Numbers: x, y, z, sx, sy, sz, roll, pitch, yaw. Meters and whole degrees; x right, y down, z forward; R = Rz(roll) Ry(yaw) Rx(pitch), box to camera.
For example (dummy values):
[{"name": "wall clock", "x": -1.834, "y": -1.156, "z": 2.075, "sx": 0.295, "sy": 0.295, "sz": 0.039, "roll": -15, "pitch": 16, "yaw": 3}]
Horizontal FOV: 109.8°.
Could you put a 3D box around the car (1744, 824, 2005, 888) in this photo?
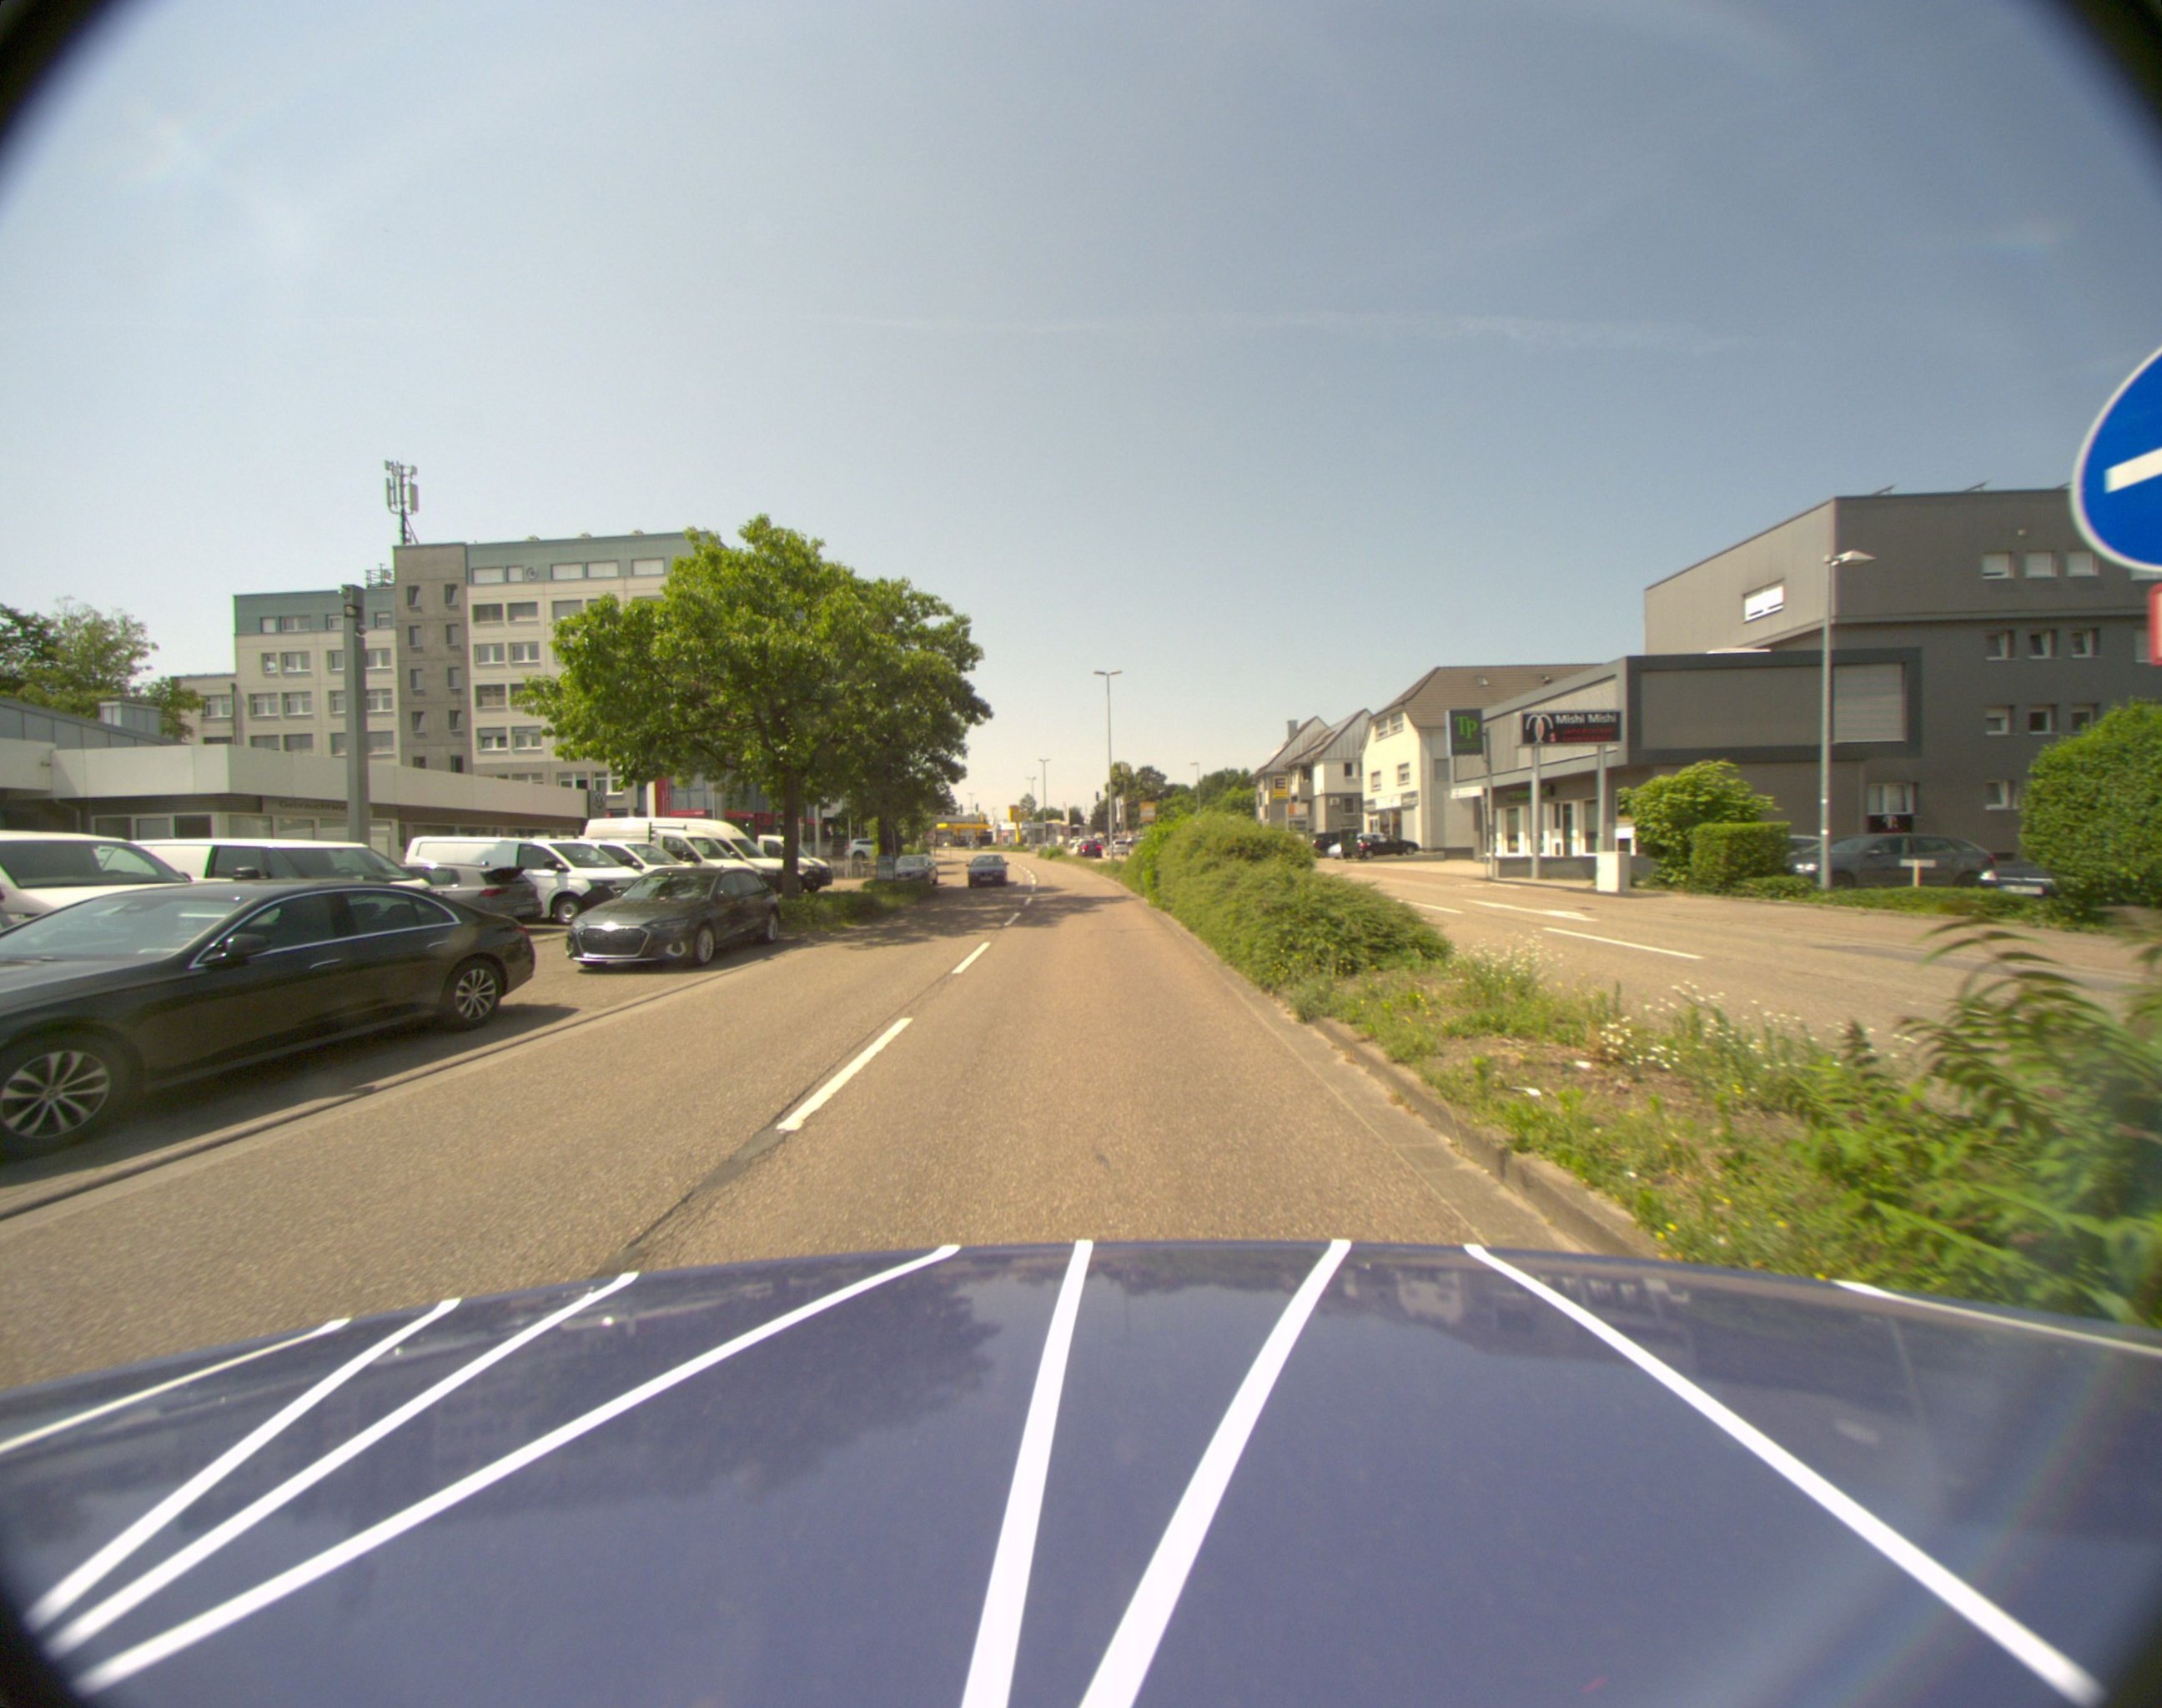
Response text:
[{"name": "car", "x": 17.748, "y": 0.041, "z": 17.146, "sx": 4.006, "sy": 1.363, "sz": 1.669, "roll": 0, "pitch": 0, "yaw": 3}]

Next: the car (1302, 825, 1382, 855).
[{"name": "car", "x": 17.439, "y": -0.921, "z": 50.941, "sx": 4.617, "sy": 1.618, "sz": 1.853, "roll": -5, "pitch": 2, "yaw": 0}]

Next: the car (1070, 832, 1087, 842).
[{"name": "car", "x": -0.392, "y": -2.865, "z": 130.236, "sx": 1.754, "sy": 1.502, "sz": 3.823, "roll": -2, "pitch": 3, "yaw": 18}]

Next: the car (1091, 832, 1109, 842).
[{"name": "car", "x": 3.238, "y": -2.794, "z": 125.966, "sx": 1.712, "sy": 1.424, "sz": 3.966, "roll": 0, "pitch": 3, "yaw": 21}]

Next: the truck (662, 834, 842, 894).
[{"name": "truck", "x": -13.236, "y": 0.405, "z": 30.854, "sx": 6.260, "sy": 2.323, "sz": 2.368, "roll": 0, "pitch": 0, "yaw": 2}]

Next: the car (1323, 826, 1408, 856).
[{"name": "car", "x": 17.919, "y": -0.820, "z": 47.909, "sx": 4.620, "sy": 1.488, "sz": 1.751, "roll": -5, "pitch": 2, "yaw": -7}]

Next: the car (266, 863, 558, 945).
[{"name": "car", "x": -13.310, "y": 0.967, "z": 15.372, "sx": 4.035, "sy": 1.462, "sz": 1.913, "roll": 1, "pitch": 0, "yaw": -6}]

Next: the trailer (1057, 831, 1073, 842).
[{"name": "trailer", "x": -2.779, "y": -3.067, "z": 133.443, "sx": 1.689, "sy": 1.694, "sz": 2.438, "roll": -1, "pitch": 3, "yaw": 30}]

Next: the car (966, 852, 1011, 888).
[{"name": "car", "x": -4.053, "y": 0.654, "z": 33.794, "sx": 1.698, "sy": 1.366, "sz": 3.997, "roll": -1, "pitch": 2, "yaw": -4}]

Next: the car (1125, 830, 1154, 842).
[{"name": "car", "x": 9.330, "y": -2.833, "z": 121.154, "sx": 4.300, "sy": 1.891, "sz": 1.831, "roll": 0, "pitch": 4, "yaw": 19}]

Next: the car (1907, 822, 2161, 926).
[{"name": "car", "x": 16.910, "y": 0.291, "z": 13.036, "sx": 3.489, "sy": 1.522, "sz": 1.777, "roll": -3, "pitch": 3, "yaw": 2}]

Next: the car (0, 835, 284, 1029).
[{"name": "car", "x": -13.337, "y": 0.818, "z": 9.255, "sx": 5.077, "sy": 2.085, "sz": 2.040, "roll": 1, "pitch": 1, "yaw": 0}]

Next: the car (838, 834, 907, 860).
[{"name": "car", "x": -15.887, "y": -0.588, "z": 57.866, "sx": 4.745, "sy": 1.704, "sz": 1.995, "roll": -4, "pitch": 3, "yaw": -25}]

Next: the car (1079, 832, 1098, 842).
[{"name": "car", "x": 1.270, "y": -2.898, "z": 128.205, "sx": 1.914, "sy": 1.532, "sz": 3.967, "roll": -2, "pitch": 3, "yaw": 22}]

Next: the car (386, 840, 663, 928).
[{"name": "car", "x": -12.965, "y": 0.650, "z": 17.961, "sx": 4.925, "sy": 1.960, "sz": 2.141, "roll": 0, "pitch": 1, "yaw": 1}]

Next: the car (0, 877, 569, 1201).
[{"name": "car", "x": -6.693, "y": 1.050, "z": 5.848, "sx": 1.966, "sy": 1.521, "sz": 5.160, "roll": 1, "pitch": 1, "yaw": 1}]

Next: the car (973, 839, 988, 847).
[{"name": "car", "x": -19.201, "y": -2.095, "z": 144.950, "sx": 1.871, "sy": 1.358, "sz": 4.338, "roll": 0, "pitch": 1, "yaw": -20}]

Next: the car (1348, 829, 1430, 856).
[{"name": "car", "x": 18.326, "y": -0.711, "z": 45.253, "sx": 4.067, "sy": 1.512, "sz": 1.999, "roll": -1, "pitch": 2, "yaw": -2}]

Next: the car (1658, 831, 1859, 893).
[{"name": "car", "x": 17.644, "y": 0.161, "z": 19.888, "sx": 3.998, "sy": 1.451, "sz": 1.574, "roll": -1, "pitch": 3, "yaw": -4}]

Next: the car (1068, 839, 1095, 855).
[{"name": "car", "x": 0.012, "y": -0.728, "z": 75.692, "sx": 1.869, "sy": 1.423, "sz": 4.739, "roll": -3, "pitch": 2, "yaw": -9}]

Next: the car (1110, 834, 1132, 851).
[{"name": "car", "x": 3.987, "y": -1.182, "z": 76.280, "sx": 1.785, "sy": 1.620, "sz": 4.336, "roll": 1, "pitch": 2, "yaw": -4}]

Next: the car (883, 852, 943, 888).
[{"name": "car", "x": -7.617, "y": 0.680, "z": 34.830, "sx": 1.802, "sy": 1.398, "sz": 4.318, "roll": -3, "pitch": 1, "yaw": -1}]

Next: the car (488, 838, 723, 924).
[{"name": "car", "x": -12.755, "y": 0.688, "z": 20.663, "sx": 4.961, "sy": 2.101, "sz": 2.159, "roll": -1, "pitch": 1, "yaw": -1}]

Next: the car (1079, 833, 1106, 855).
[{"name": "car", "x": 0.985, "y": -0.906, "z": 68.280, "sx": 1.914, "sy": 1.741, "sz": 4.755, "roll": -3, "pitch": 3, "yaw": -5}]

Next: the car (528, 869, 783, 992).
[{"name": "car", "x": -6.382, "y": 1.030, "z": 12.080, "sx": 1.686, "sy": 1.427, "sz": 4.437, "roll": 0, "pitch": 1, "yaw": -2}]

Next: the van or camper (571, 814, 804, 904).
[{"name": "van or camper", "x": -13.434, "y": 0.173, "z": 26.301, "sx": 6.814, "sy": 2.881, "sz": 2.275, "roll": -1, "pitch": 1, "yaw": 0}]

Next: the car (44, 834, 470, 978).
[{"name": "car", "x": -13.054, "y": 0.743, "z": 12.319, "sx": 4.520, "sy": 2.002, "sz": 2.197, "roll": 1, "pitch": 2, "yaw": 1}]

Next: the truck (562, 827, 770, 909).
[{"name": "truck", "x": -12.679, "y": 0.411, "z": 23.461, "sx": 5.259, "sy": 2.422, "sz": 2.111, "roll": 0, "pitch": 1, "yaw": 2}]

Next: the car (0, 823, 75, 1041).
[{"name": "car", "x": -12.907, "y": 0.751, "z": 6.801, "sx": 4.912, "sy": 2.102, "sz": 2.129, "roll": 0, "pitch": 1, "yaw": 0}]
